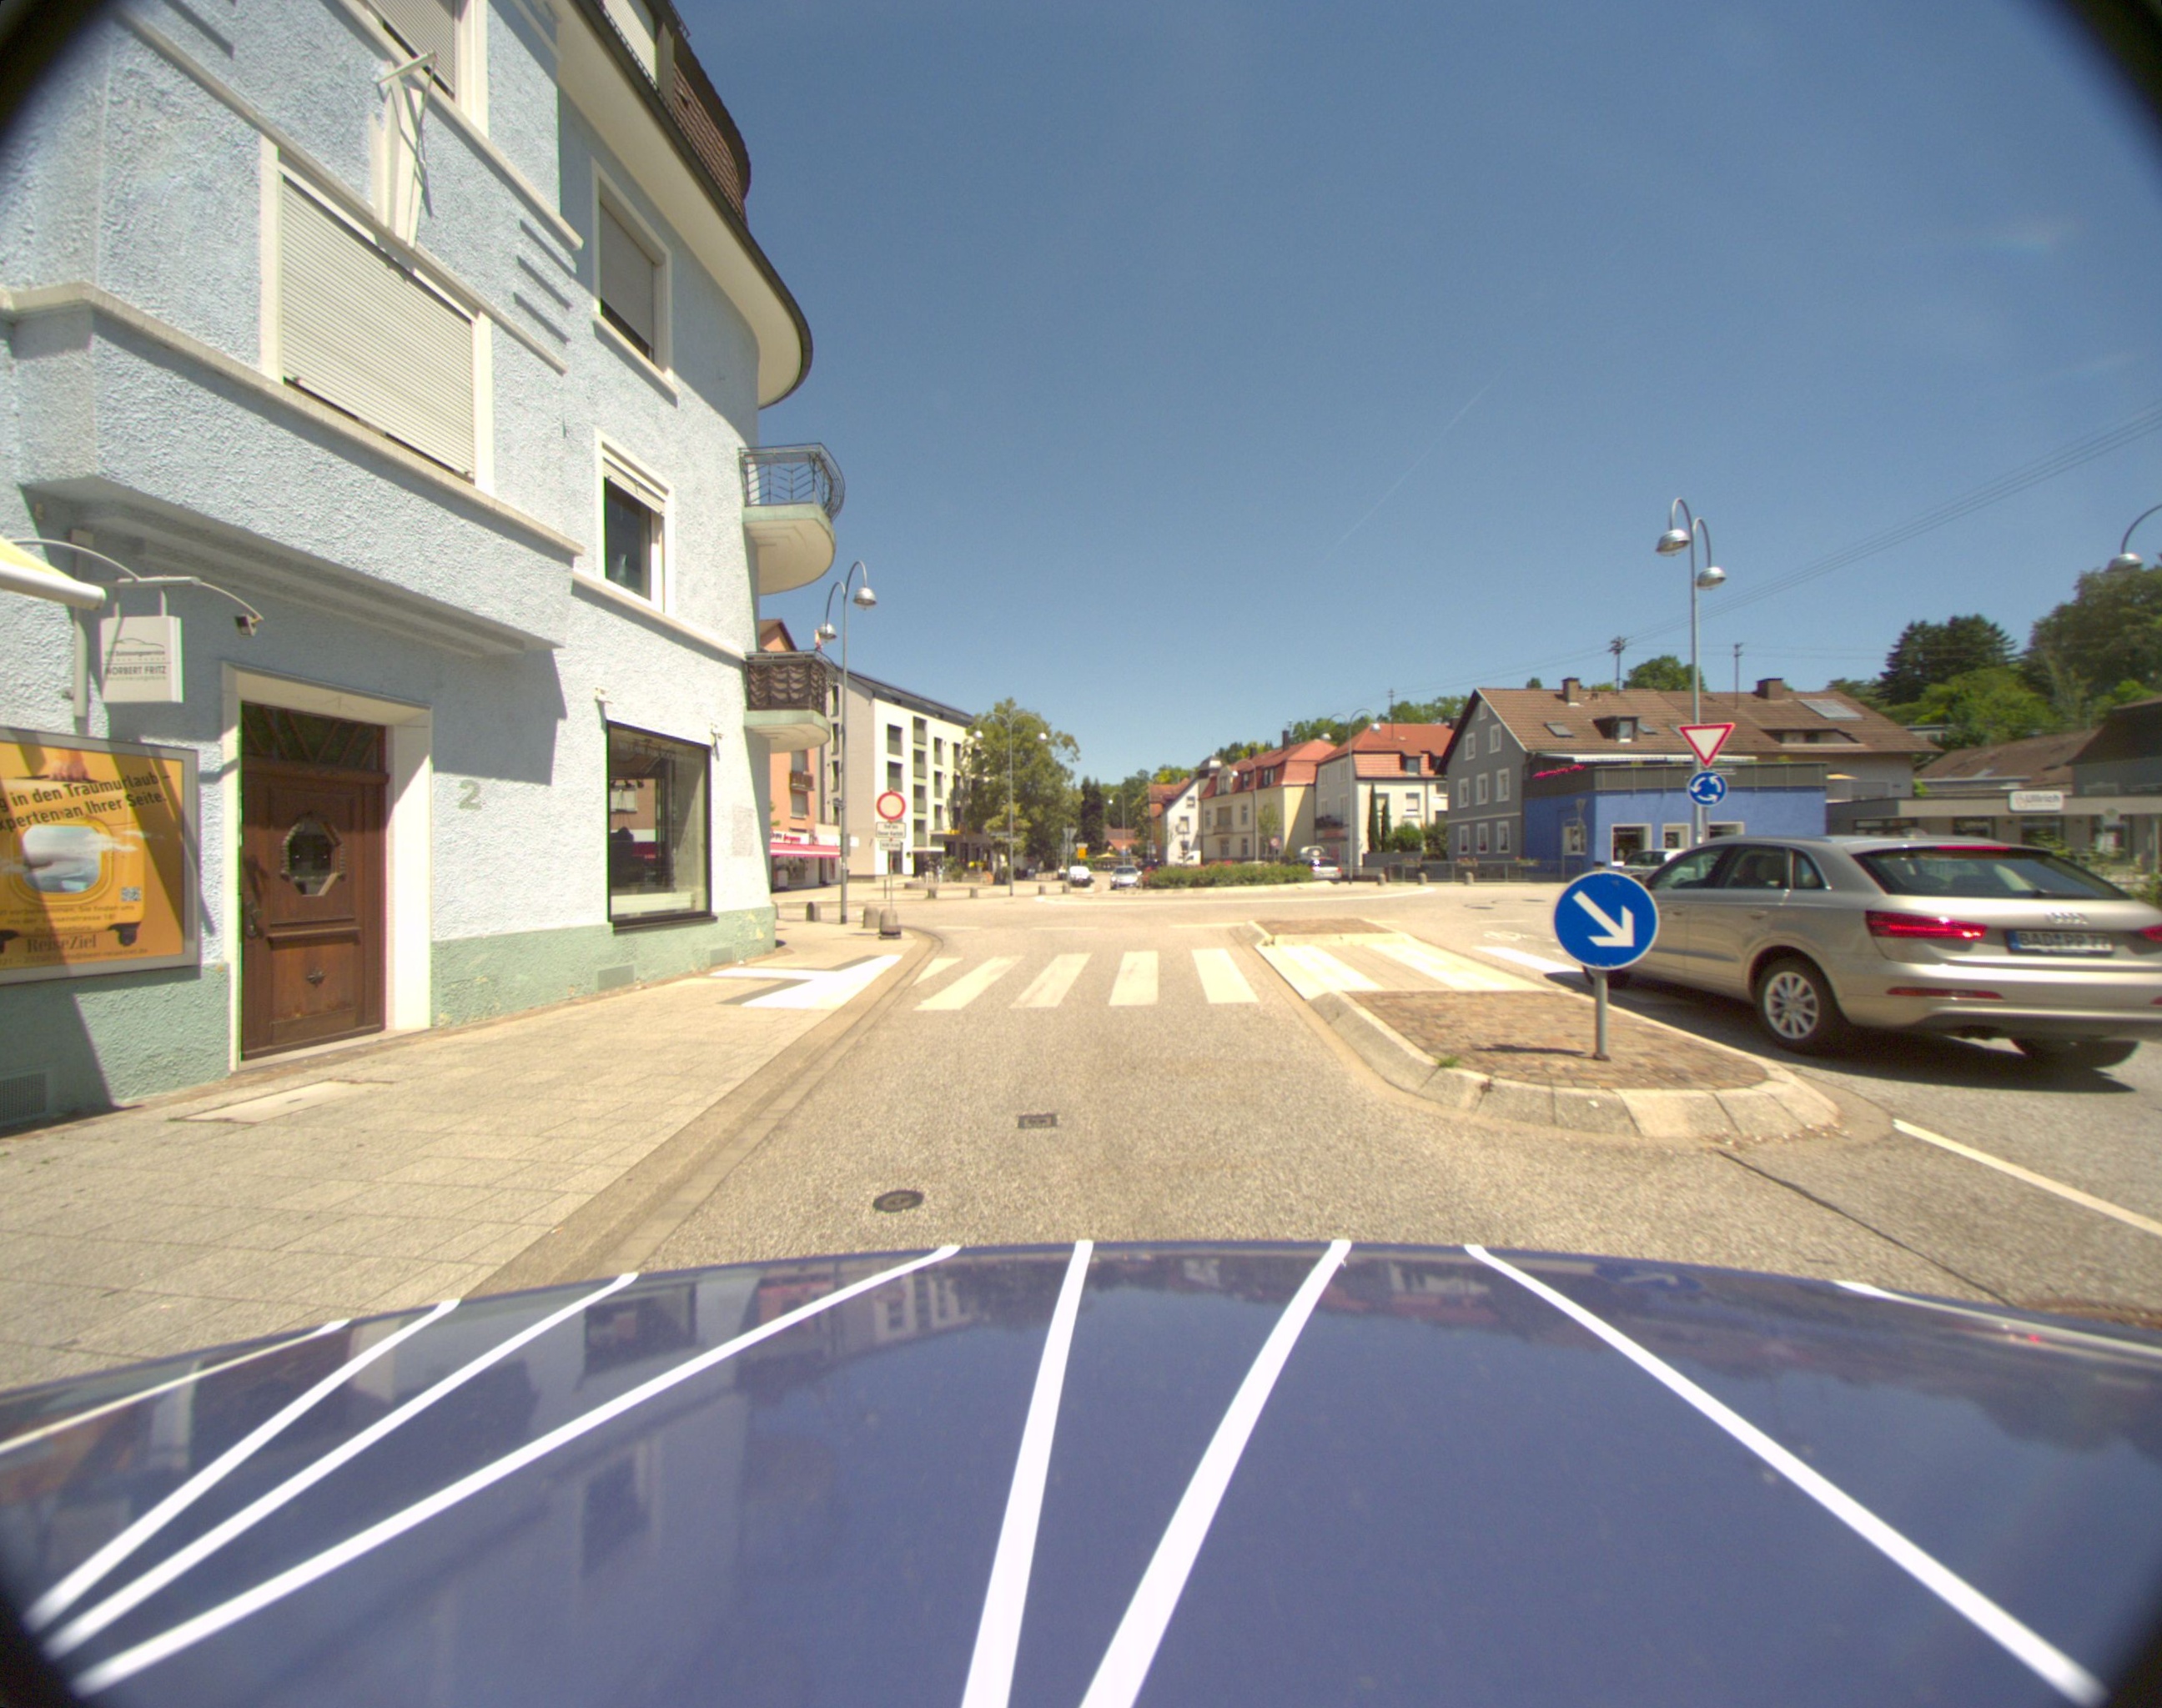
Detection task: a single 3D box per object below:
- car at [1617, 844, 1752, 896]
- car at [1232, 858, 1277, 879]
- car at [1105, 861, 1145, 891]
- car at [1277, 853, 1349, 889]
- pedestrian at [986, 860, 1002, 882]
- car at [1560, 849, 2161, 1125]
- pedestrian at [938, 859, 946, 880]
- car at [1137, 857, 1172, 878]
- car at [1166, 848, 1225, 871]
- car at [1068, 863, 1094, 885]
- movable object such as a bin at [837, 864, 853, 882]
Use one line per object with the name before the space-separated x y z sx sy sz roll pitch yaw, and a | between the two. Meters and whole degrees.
car | 17.971 0.444 22.630 3.722 1.404 1.547 -1 0 -23
car | 12.577 1.047 55.260 1.609 1.384 4.075 -4 0 -10
car | 2.638 1.313 46.565 1.999 1.646 4.203 -1 0 -3
car | 11.171 0.875 36.894 1.745 1.506 4.208 -2 -3 -6
pedestrian | -6.731 1.312 58.760 0.816 1.639 0.953 -1 0 36
car | 5.921 0.749 6.329 1.678 1.534 4.086 1 0 7
pedestrian | -10.863 1.231 59.403 0.450 1.609 0.451 -1 0 4
car | 7.467 1.355 77.215 2.002 2.002 3.992 -2 2 -20
car | 14.580 0.667 97.165 7.047 2.727 2.377 -1 0 -5
car | -0.043 1.430 55.217 1.796 1.515 4.000 -1 0 -1
movable object such as a bin | -16.751 1.331 53.895 0.746 1.245 0.838 -2 0 8
